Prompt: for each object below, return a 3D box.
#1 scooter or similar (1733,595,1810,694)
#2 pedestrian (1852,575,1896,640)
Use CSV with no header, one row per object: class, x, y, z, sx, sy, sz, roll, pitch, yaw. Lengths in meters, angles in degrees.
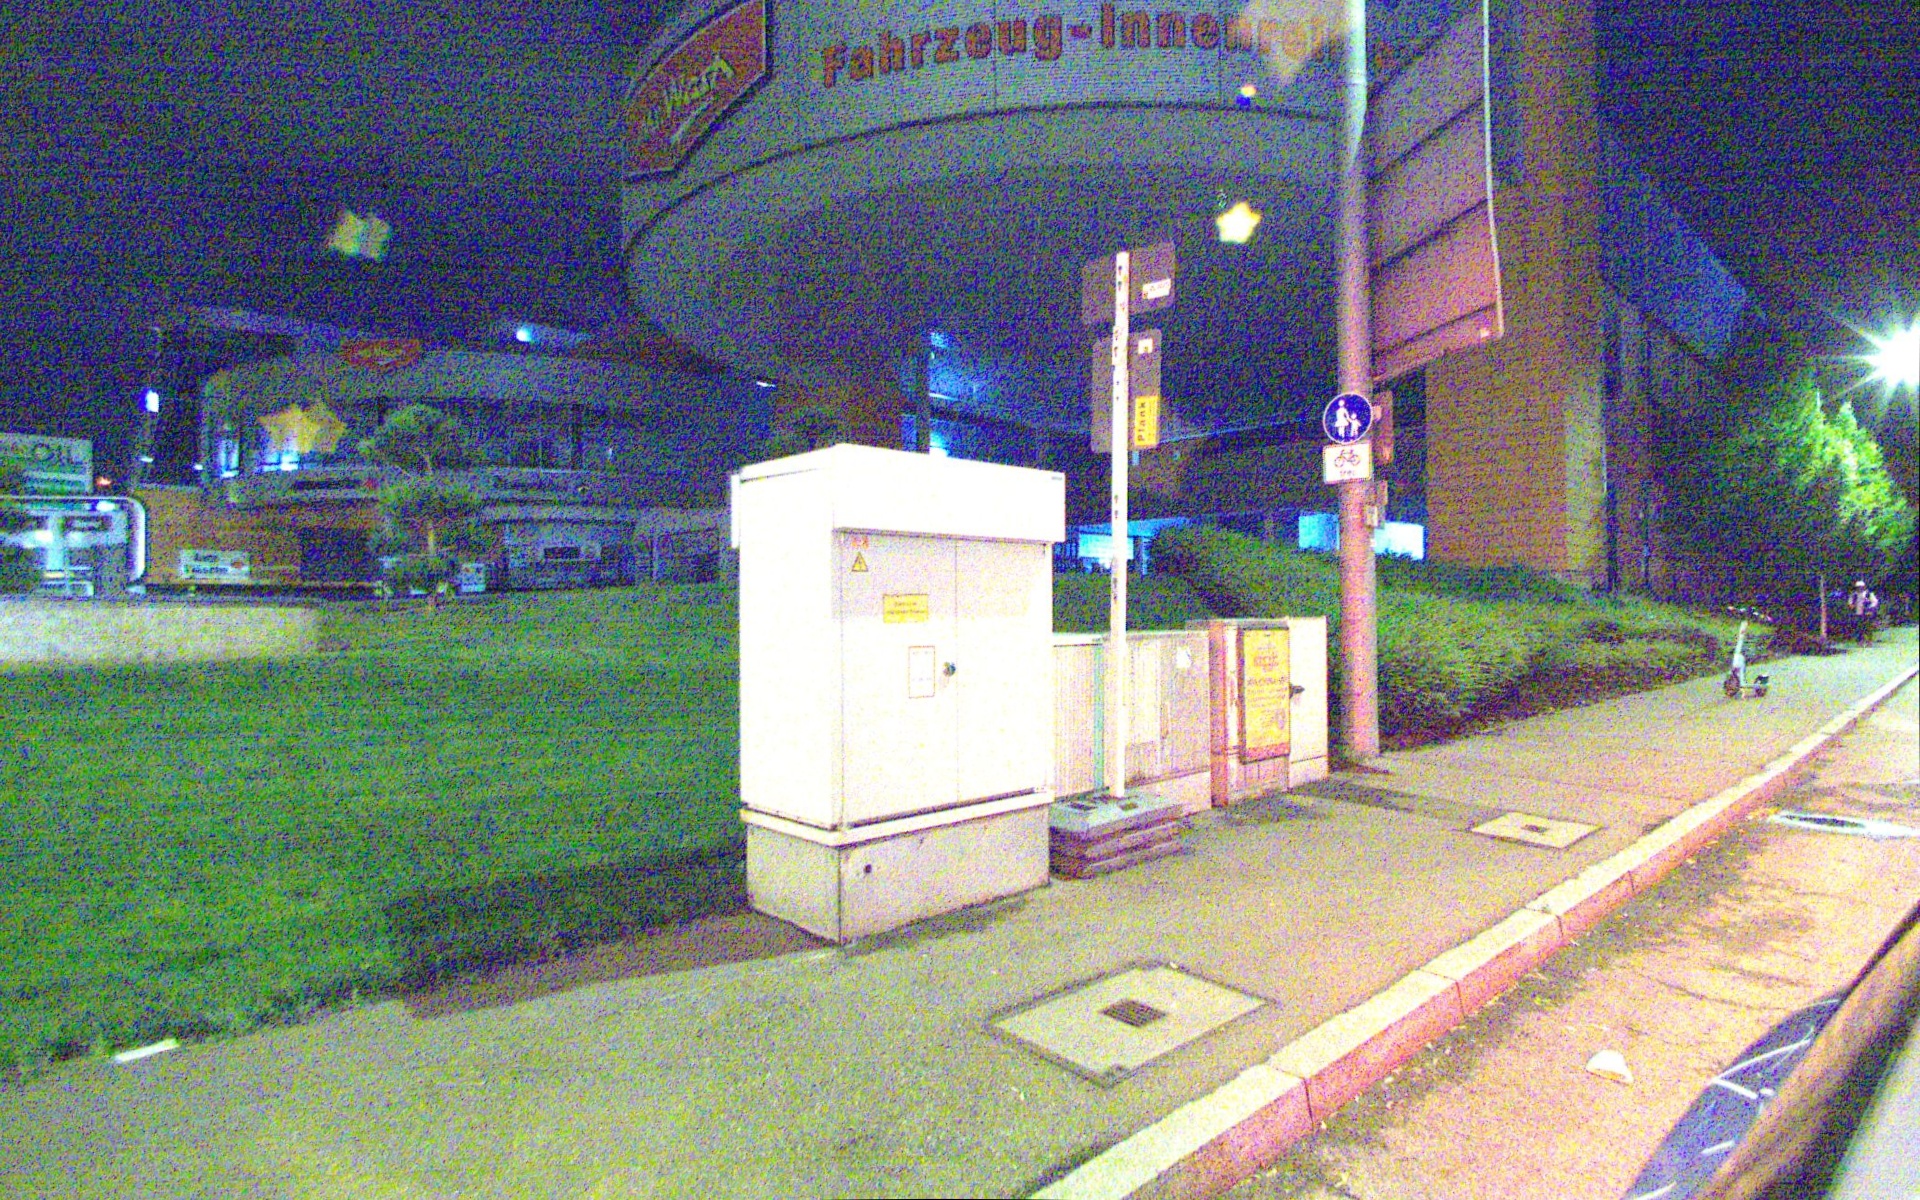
scooter or similar,11.265,0.589,14.040,1.367,1.295,0.569,0,1,-41
pedestrian,26.177,0.203,28.988,0.597,1.842,0.824,-1,0,-40
